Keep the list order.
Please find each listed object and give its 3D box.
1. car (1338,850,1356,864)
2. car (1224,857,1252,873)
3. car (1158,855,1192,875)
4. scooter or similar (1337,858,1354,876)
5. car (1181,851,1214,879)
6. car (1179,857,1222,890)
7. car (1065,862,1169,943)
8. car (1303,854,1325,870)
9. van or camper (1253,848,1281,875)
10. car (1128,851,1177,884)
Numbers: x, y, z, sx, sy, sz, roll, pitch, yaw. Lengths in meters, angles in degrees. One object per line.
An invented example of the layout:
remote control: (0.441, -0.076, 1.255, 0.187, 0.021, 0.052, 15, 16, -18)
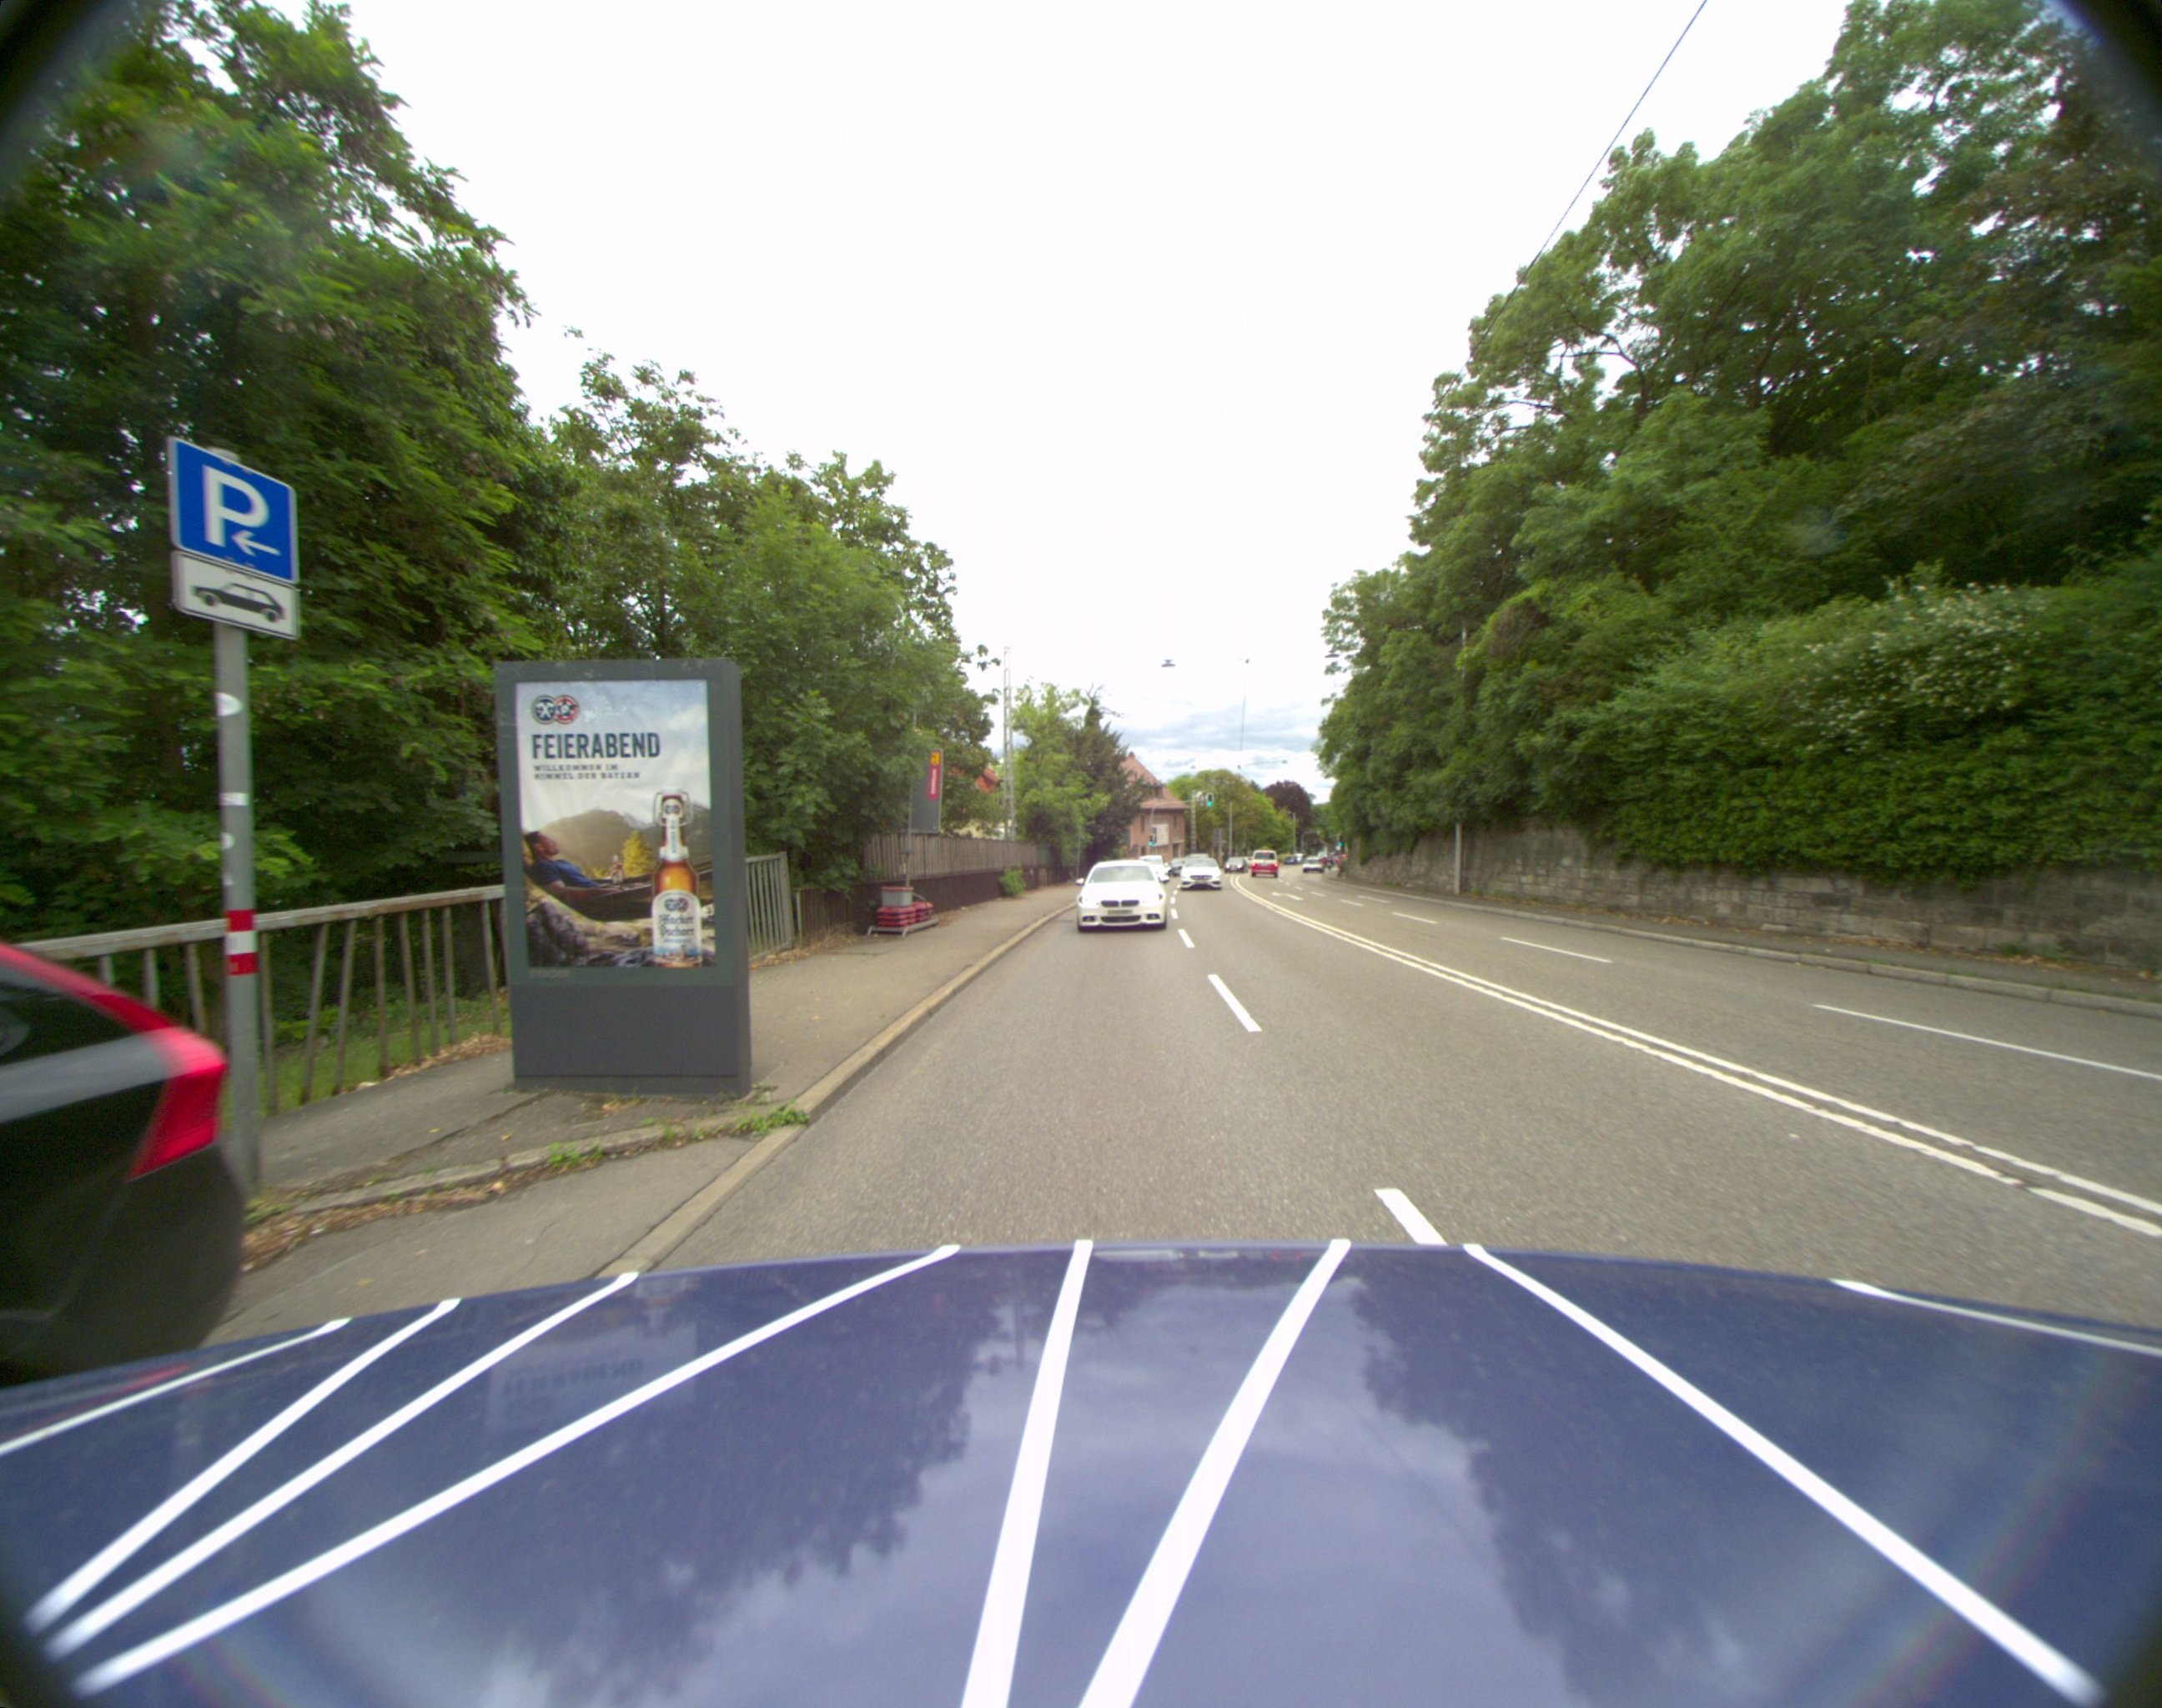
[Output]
car: (37.923, 0.426, 108.151, 1.744, 1.835, 4.257, 0, 0, 29)
car: (14.182, 0.931, 68.509, 1.832, 1.369, 4.006, 1, 0, 21)
car: (7.179, 0.821, 57.838, 1.996, 1.396, 4.004, -1, 0, 15)
scooter or similar: (19.821, 0.966, 56.910, 1.099, 1.230, 0.433, -4, 0, -27)
car: (7.481, 0.673, 48.793, 1.956, 1.730, 4.003, 1, 0, 9)
car: (5.418, 0.864, 34.260, 1.801, 1.382, 3.530, -1, 0, 10)
car: (0.931, 0.925, 16.432, 1.821, 1.462, 4.787, -1, 0, 8)
car: (22.803, 0.750, 74.257, 1.784, 1.458, 4.107, 2, 1, 21)
van or camper: (13.841, 0.528, 56.514, 1.892, 1.867, 4.770, 1, 1, 15)
car: (4.057, 0.728, 42.590, 1.955, 1.761, 4.005, 1, 0, 17)
